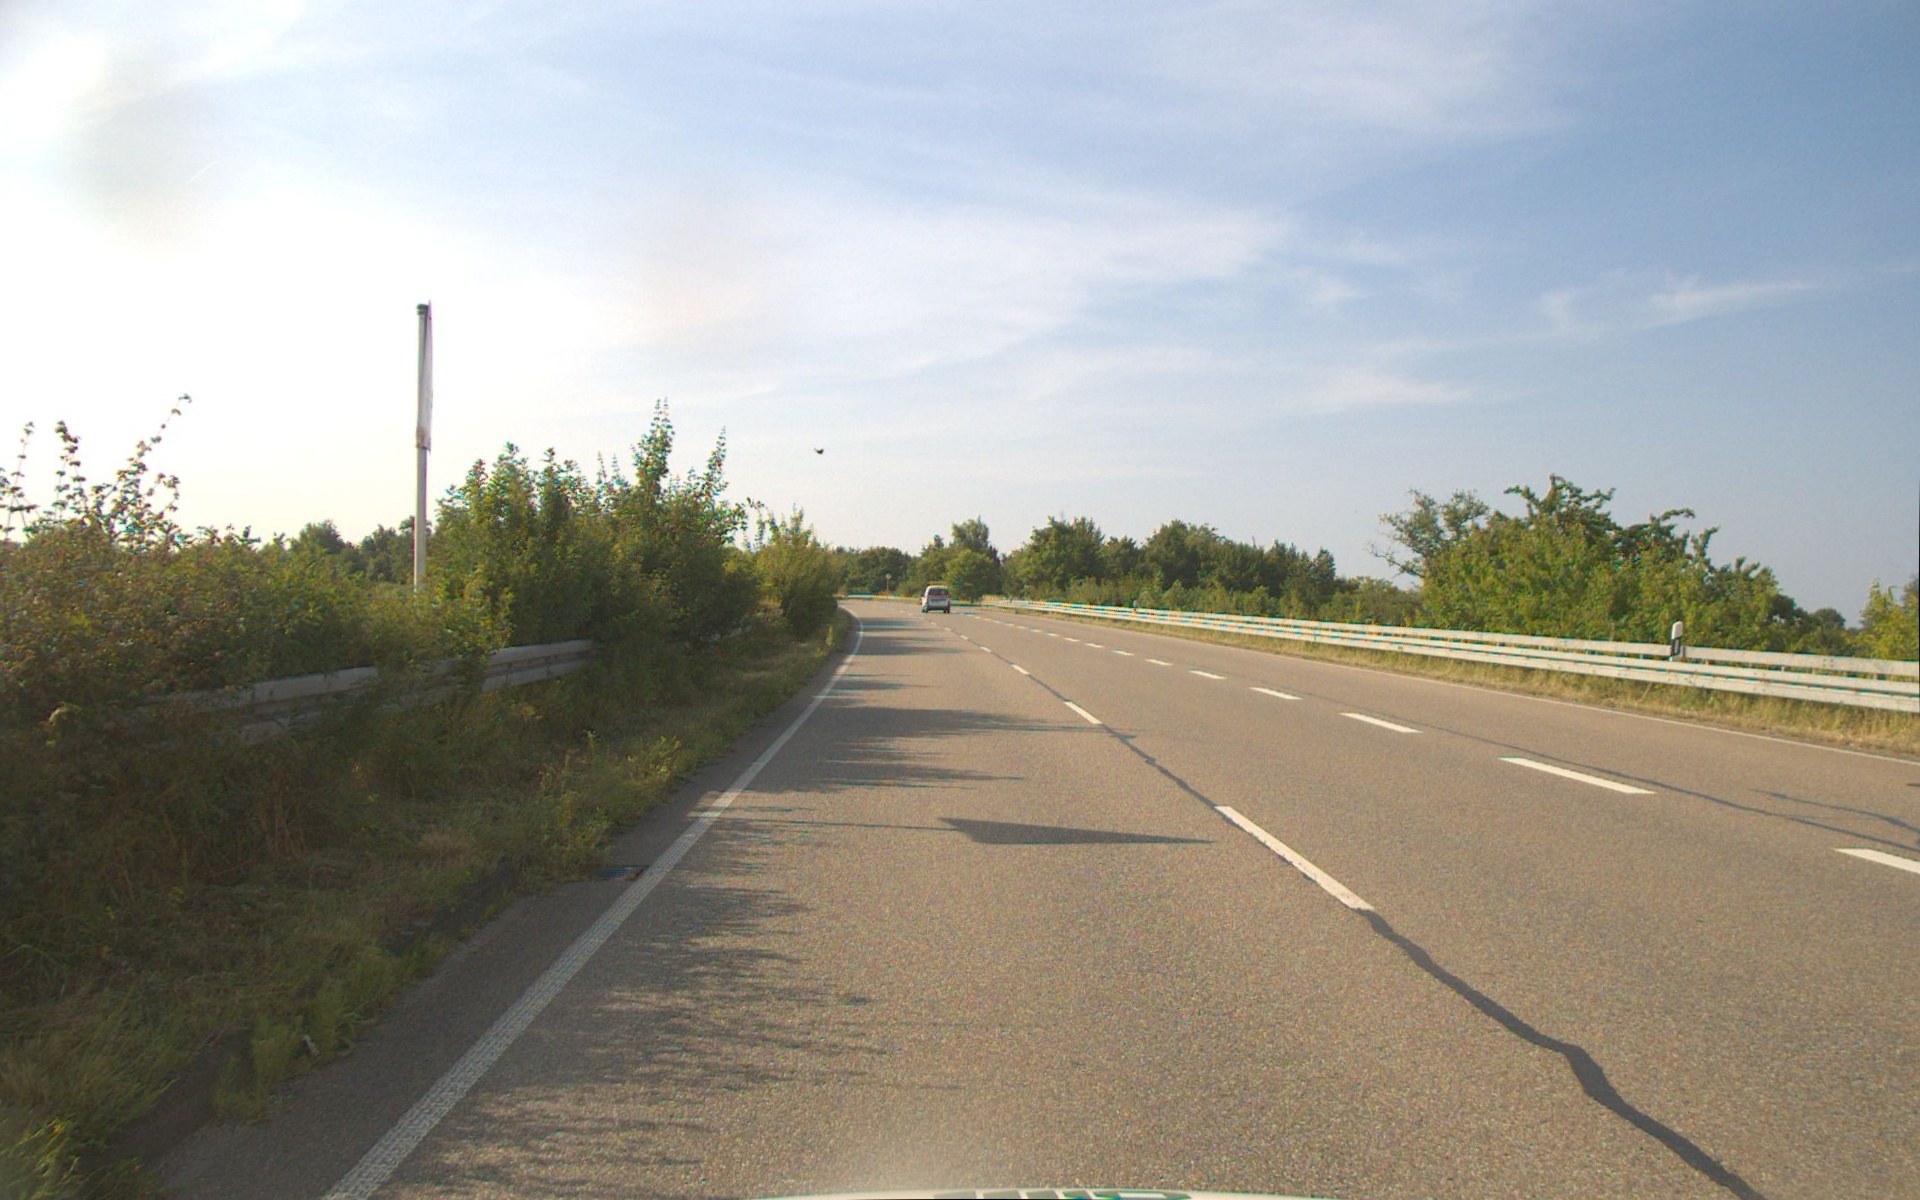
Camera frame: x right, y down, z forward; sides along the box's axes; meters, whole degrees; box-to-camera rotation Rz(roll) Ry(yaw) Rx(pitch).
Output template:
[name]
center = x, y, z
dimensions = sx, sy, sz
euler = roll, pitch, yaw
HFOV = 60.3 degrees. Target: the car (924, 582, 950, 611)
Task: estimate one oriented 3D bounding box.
[car]
center = -1.576, -0.202, 112.122
dimensions = 1.730, 1.915, 3.999
euler = 0, 0, -1
